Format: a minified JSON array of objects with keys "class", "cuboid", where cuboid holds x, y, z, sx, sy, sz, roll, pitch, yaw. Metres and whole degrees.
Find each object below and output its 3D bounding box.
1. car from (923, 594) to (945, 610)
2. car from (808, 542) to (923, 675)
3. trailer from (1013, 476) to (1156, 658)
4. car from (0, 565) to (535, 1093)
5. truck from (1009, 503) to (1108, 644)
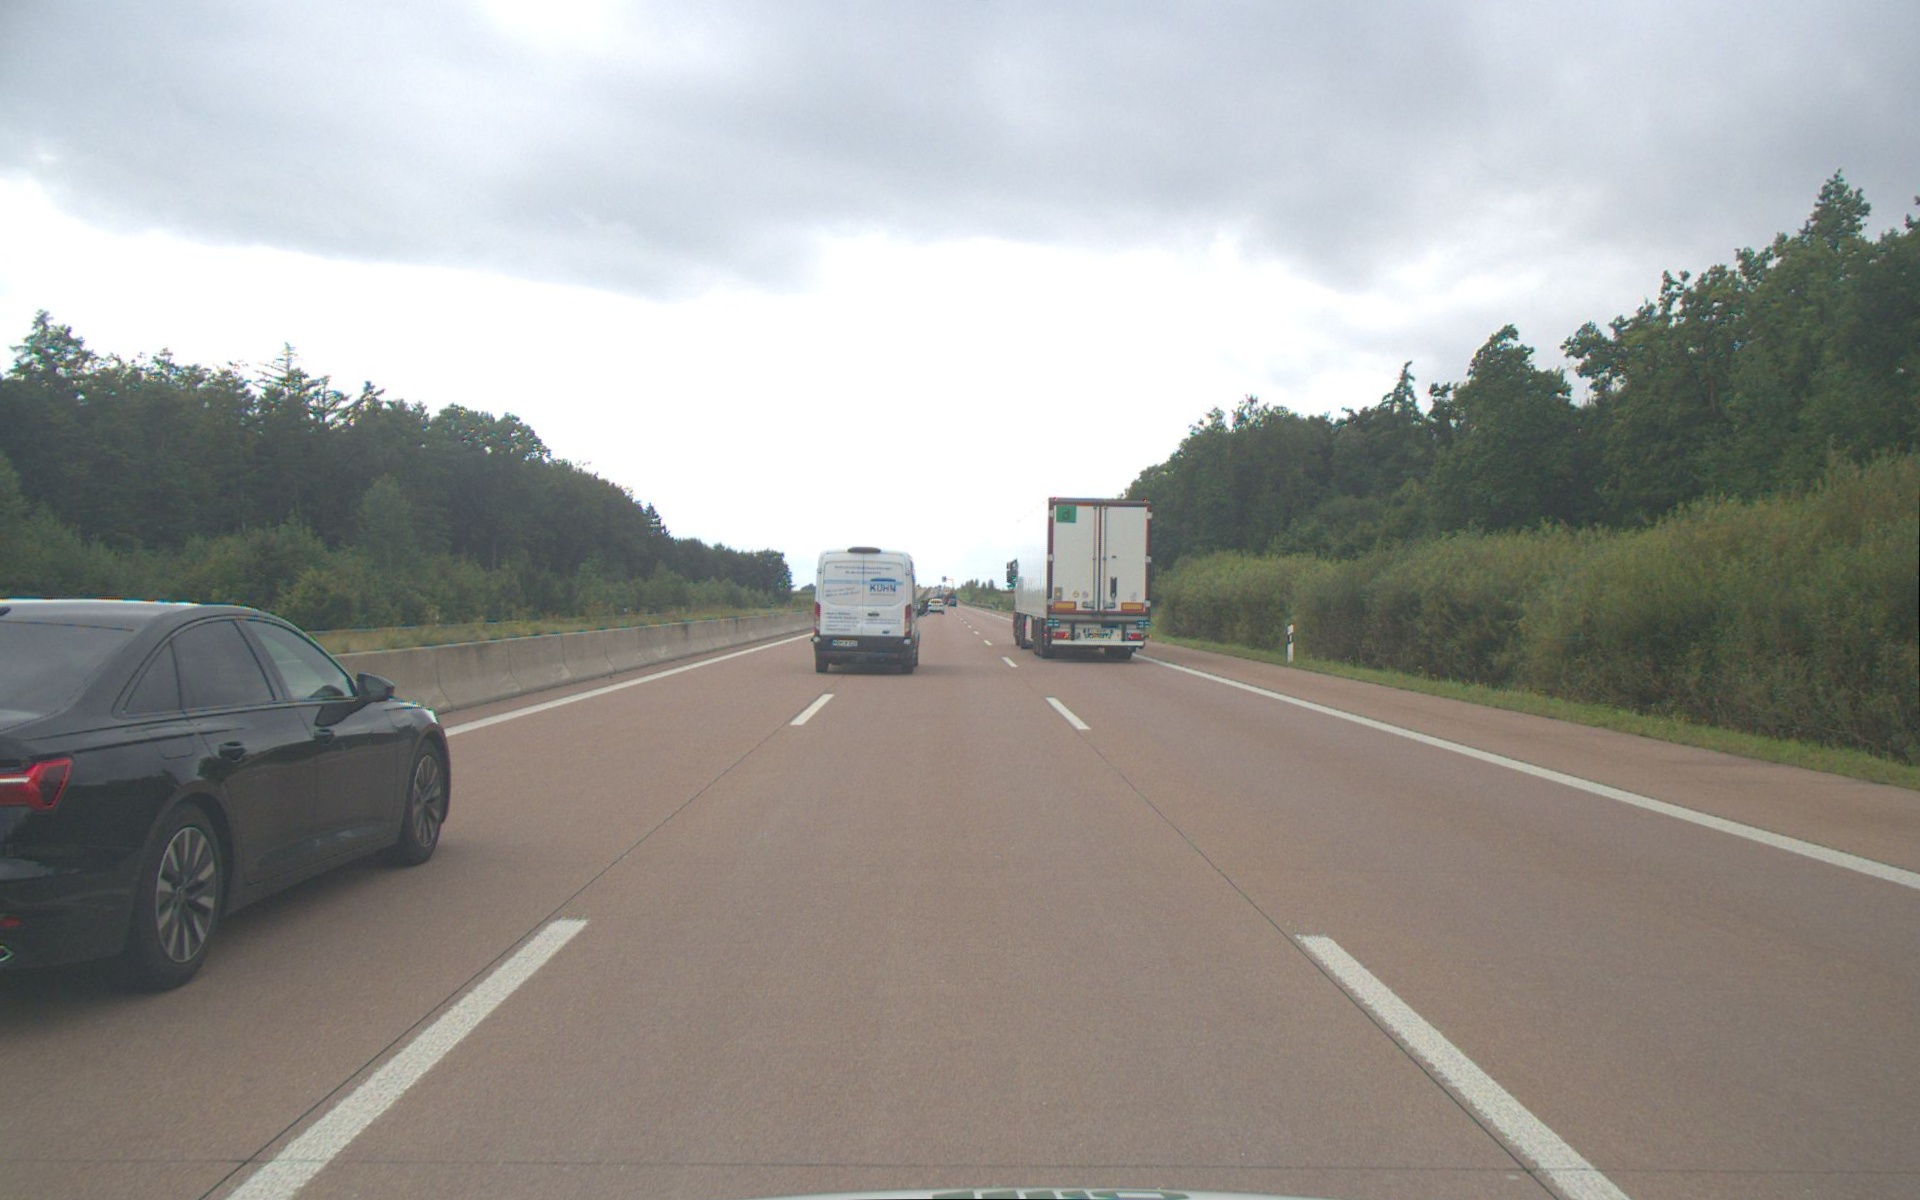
[{"class":"car","cuboid":[-2.698,0.203,173.637,2.119,1.476,4.719,2,0,1]},{"class":"car","cuboid":[-1.906,0.130,35.397,2.094,2.551,7.131,0,0,-1]},{"class":"trailer","cuboid":[3.232,-0.796,46.737,2.862,4.369,13.612,1,0,0]},{"class":"car","cuboid":[-3.801,0.642,7.654,2.042,1.577,5.675,1,0,1]},{"class":"truck","cuboid":[3.152,-0.824,54.230,2.862,4.369,5.334,1,0,-1]}]
